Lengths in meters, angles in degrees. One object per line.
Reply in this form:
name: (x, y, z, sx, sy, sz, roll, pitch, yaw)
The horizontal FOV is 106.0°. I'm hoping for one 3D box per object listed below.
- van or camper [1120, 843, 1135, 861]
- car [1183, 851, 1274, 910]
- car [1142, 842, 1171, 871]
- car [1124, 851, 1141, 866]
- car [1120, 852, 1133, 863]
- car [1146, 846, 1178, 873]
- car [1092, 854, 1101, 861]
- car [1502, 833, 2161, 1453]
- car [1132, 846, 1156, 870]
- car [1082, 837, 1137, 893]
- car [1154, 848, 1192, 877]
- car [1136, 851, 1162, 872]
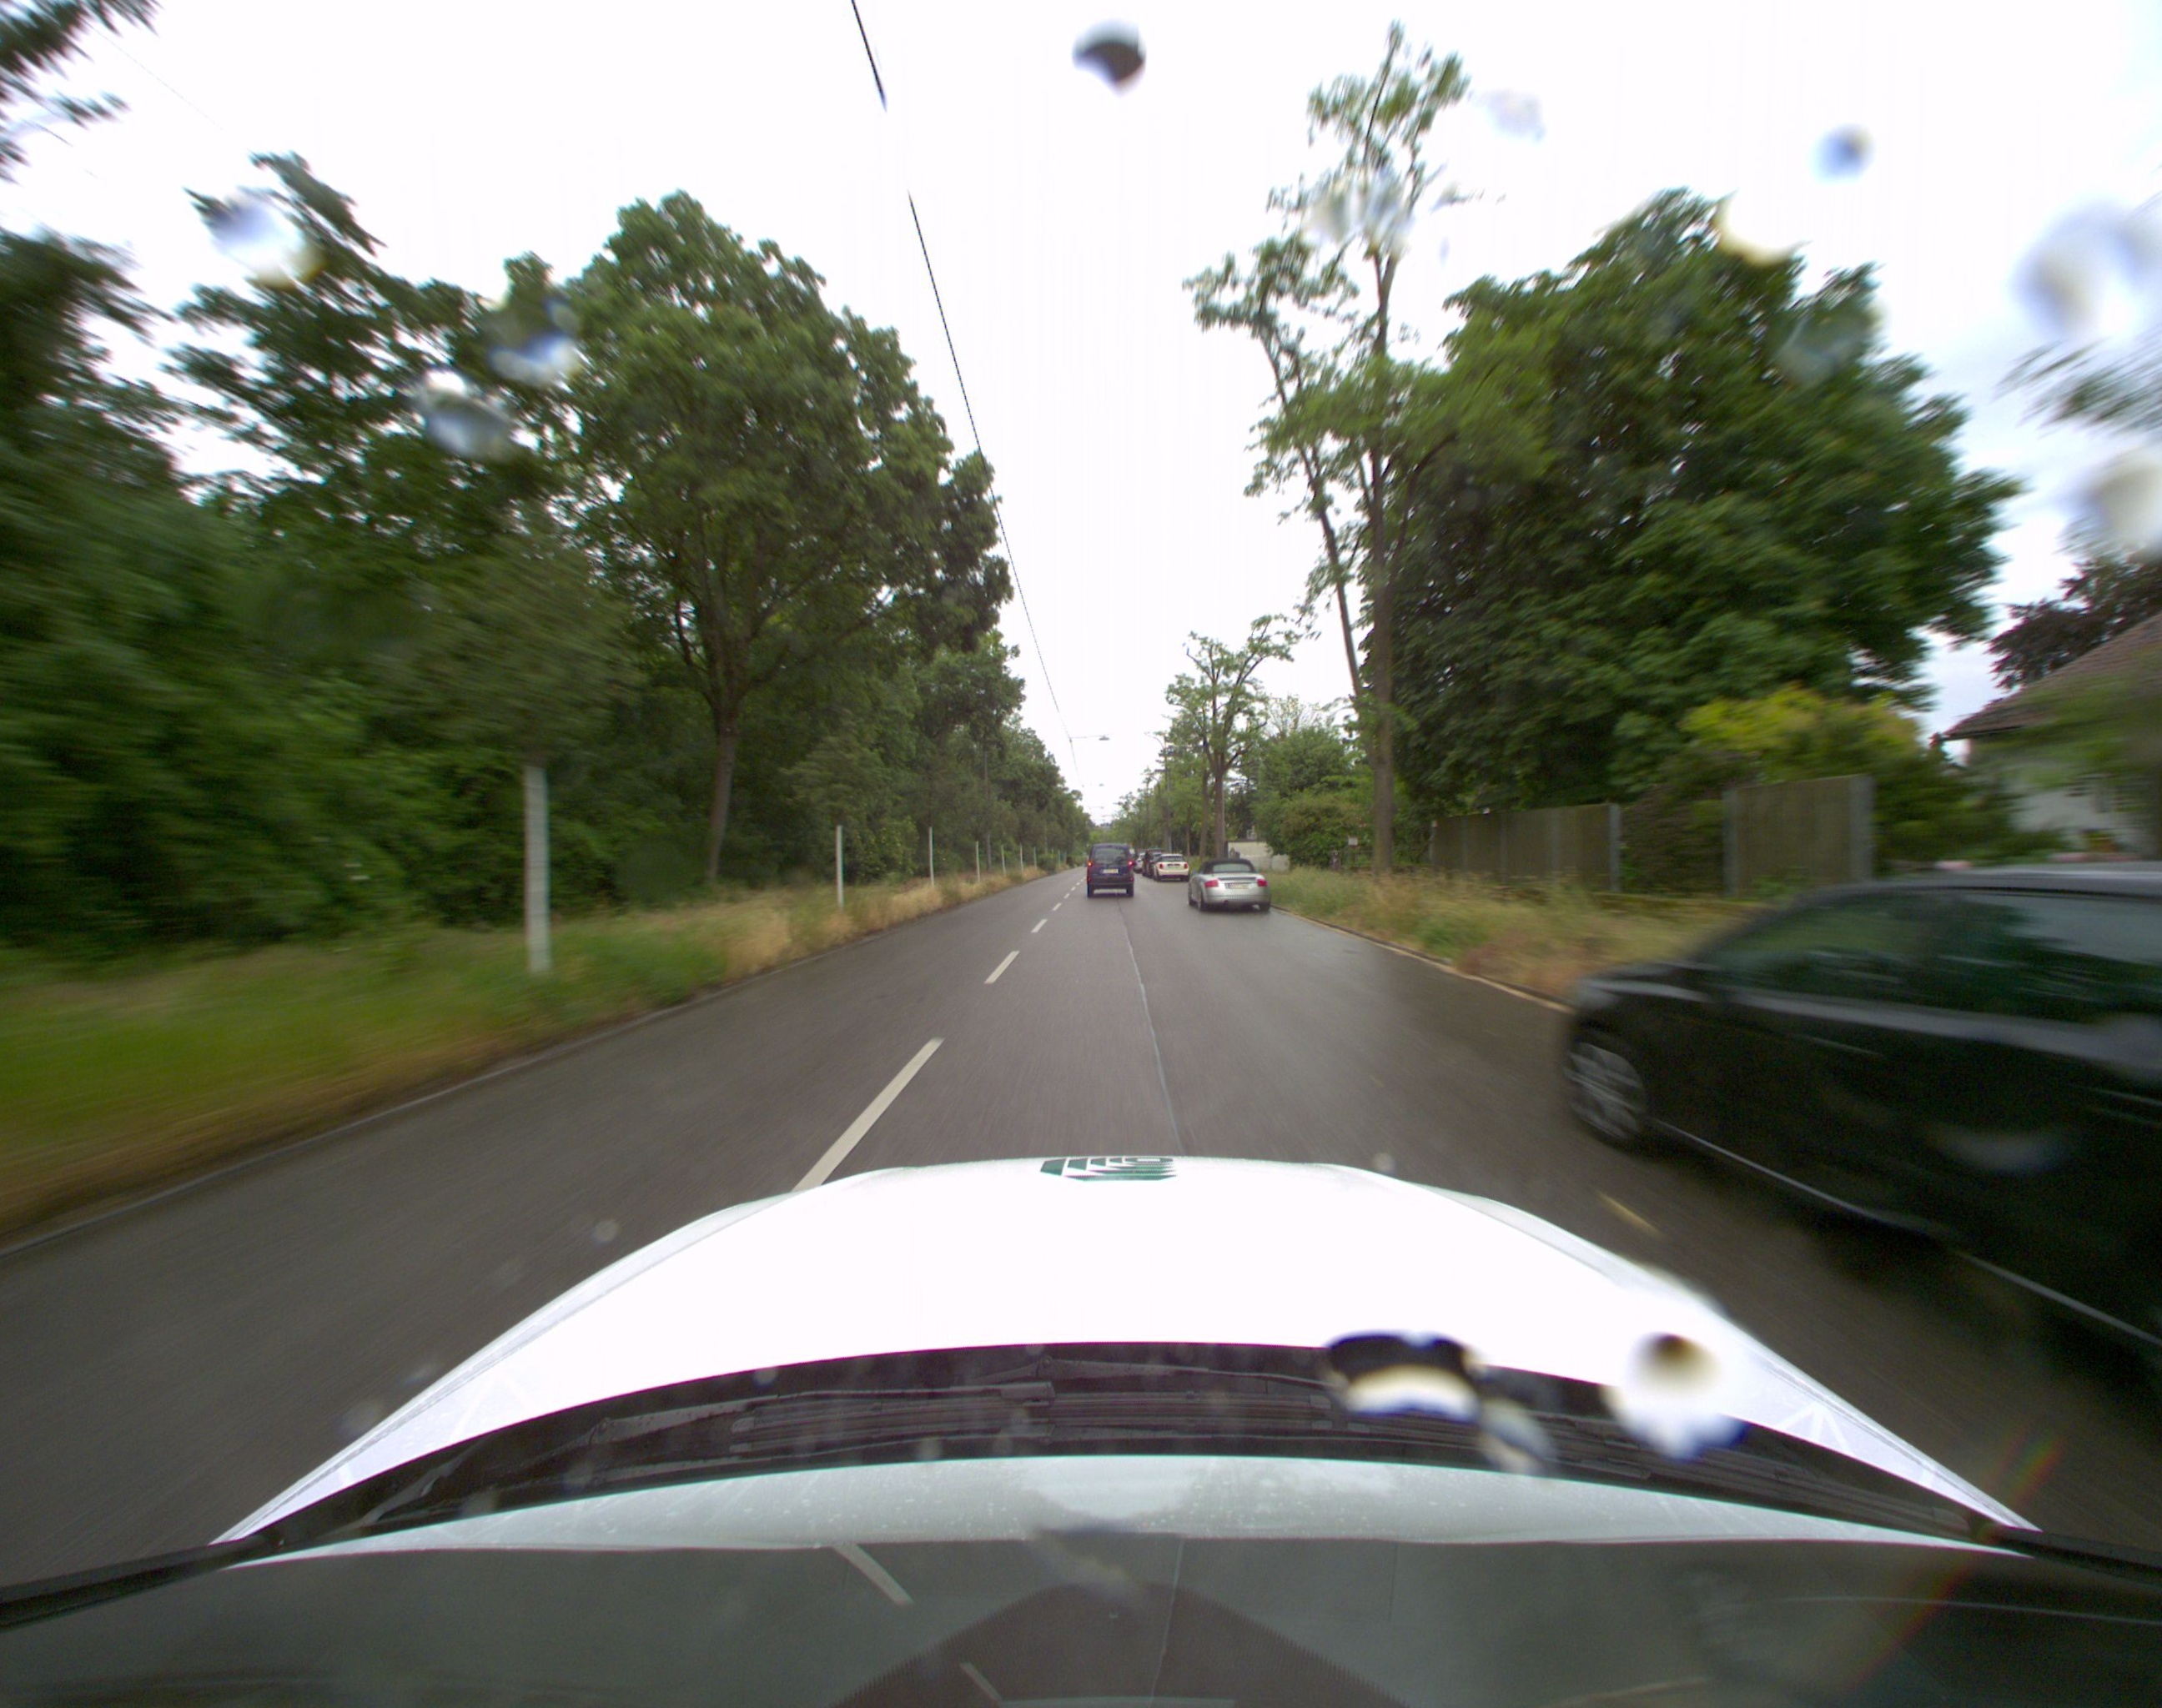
van or camper: (7.022, -0.316, 122.674, 2.071, 2.650, 5.348, 0, 0, 2)
car: (3.847, 0.640, 21.860, 1.776, 1.395, 4.000, 0, 0, 1)
car: (5.026, 0.151, 54.773, 1.723, 1.847, 4.232, 0, 0, 2)
car: (6.409, 0.500, 101.735, 1.808, 1.813, 4.282, 0, 0, 0)
car: (6.423, 0.439, 114.704, 1.618, 1.464, 3.813, 0, 0, 5)
car: (4.809, 0.317, 48.856, 1.672, 1.555, 4.077, 0, 0, 2)
car: (3.341, 0.728, 175.051, 1.853, 1.480, 4.158, -3, 0, 2)
car: (3.399, 0.667, 3.101, 1.635, 1.464, 4.002, 0, 0, 2)
car: (5.530, 0.311, 71.899, 1.986, 2.013, 4.891, 0, 0, 2)
car: (0.958, 0.353, 28.877, 1.762, 1.830, 3.540, 0, 0, -1)
car: (4.881, 0.408, 43.483, 1.731, 1.464, 3.726, 0, 0, 2)
car: (5.386, 0.546, 65.200, 1.798, 1.613, 4.287, 0, 0, 1)
